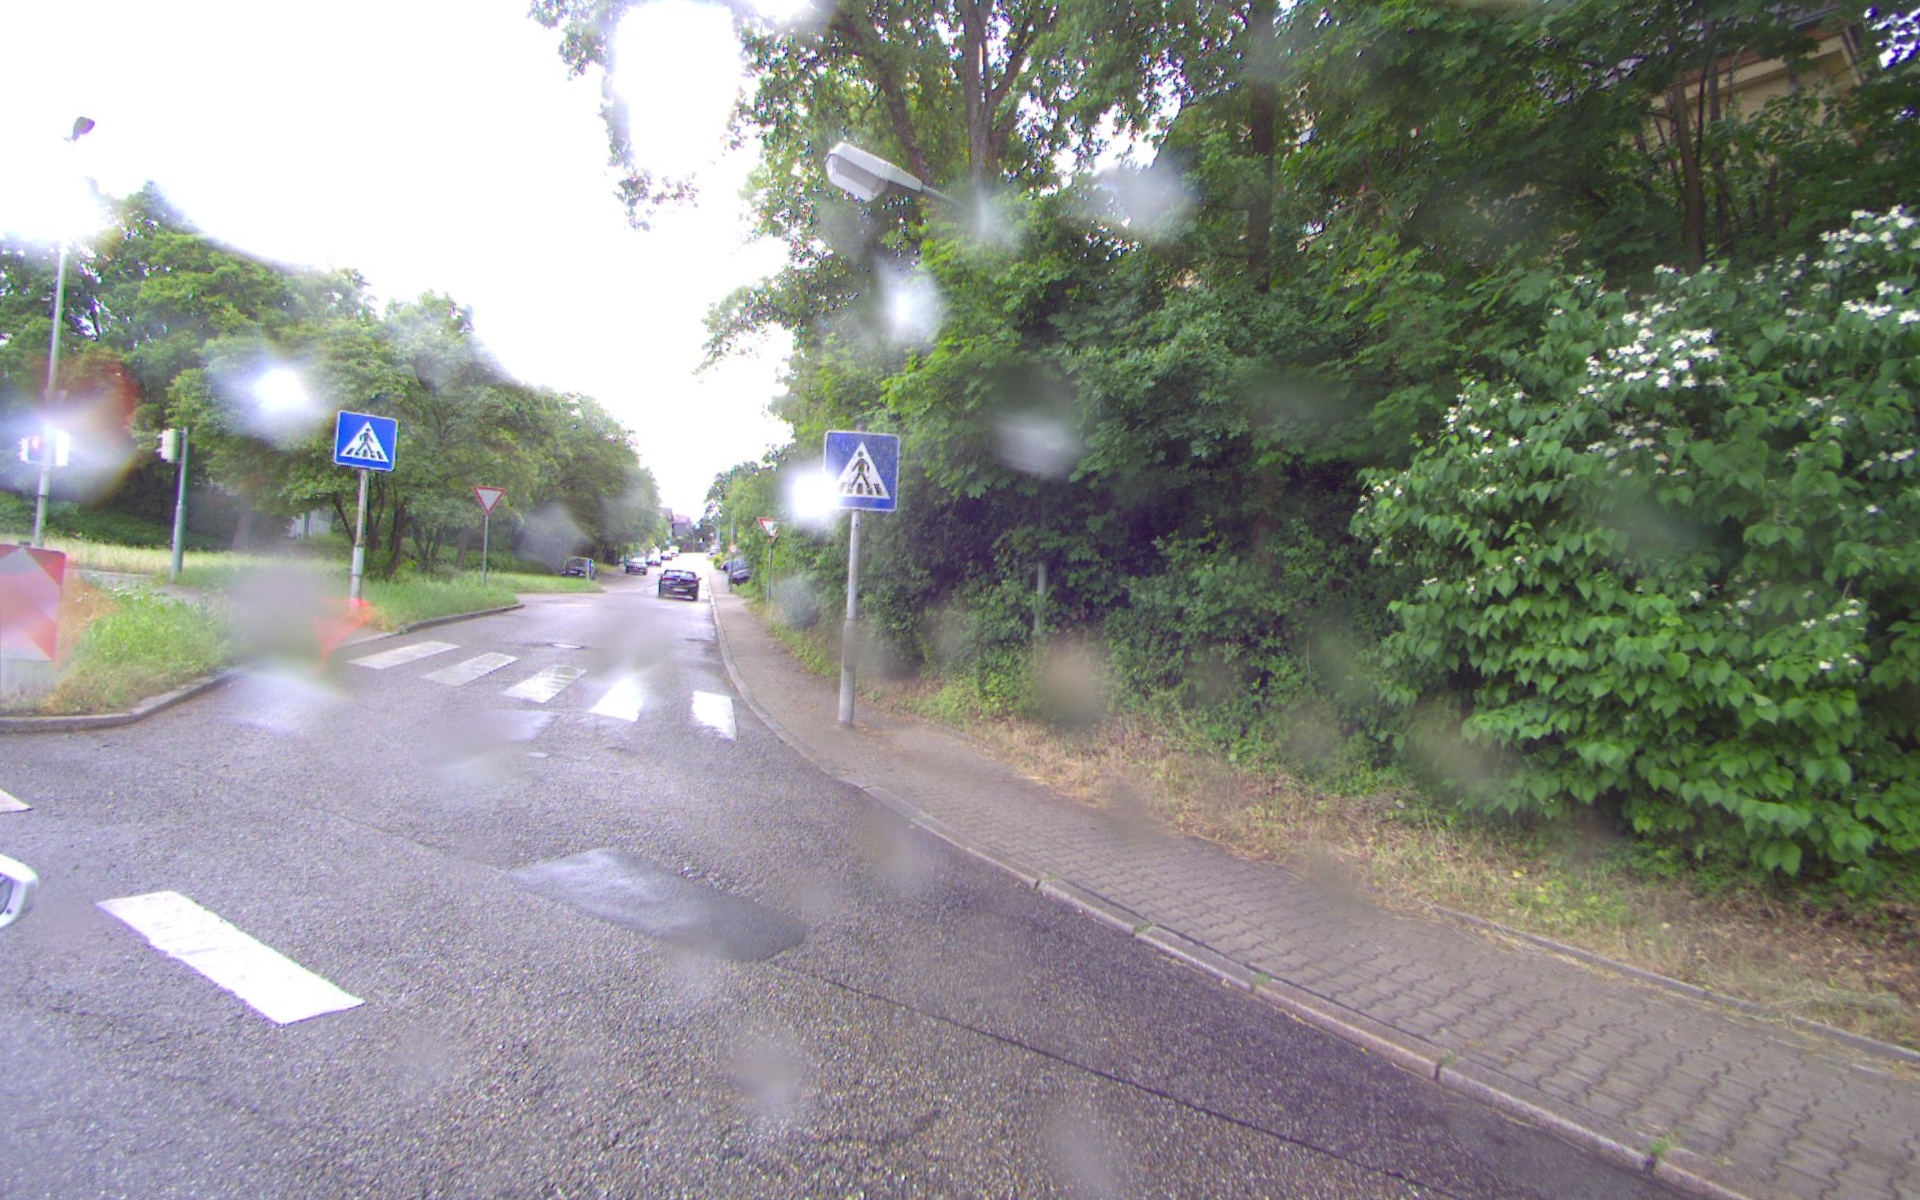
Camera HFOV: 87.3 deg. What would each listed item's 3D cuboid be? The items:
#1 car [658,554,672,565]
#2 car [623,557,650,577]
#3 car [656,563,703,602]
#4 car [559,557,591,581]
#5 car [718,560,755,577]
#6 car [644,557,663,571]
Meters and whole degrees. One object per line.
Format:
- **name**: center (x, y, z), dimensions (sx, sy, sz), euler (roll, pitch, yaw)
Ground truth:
- **car**: center (-46.774, -6.425, 159.519), dimensions (1.877, 1.413, 4.151), euler (7, -2, -20)
- **car**: center (-30.110, -3.009, 93.737), dimensions (1.874, 1.467, 4.285), euler (7, -2, -13)
- **car**: center (-12.902, -0.864, 46.460), dimensions (1.789, 1.461, 4.148), euler (6, 1, -14)
- **car**: center (-25.895, -2.072, 67.741), dimensions (1.651, 1.387, 3.477), euler (6, 0, -16)
- **car**: center (-25.774, -3.672, 116.099), dimensions (3.939, 1.594, 1.766), euler (5, 1, -18)
- **car**: center (-37.712, -4.410, 123.653), dimensions (1.968, 1.463, 4.278), euler (7, -2, -19)
